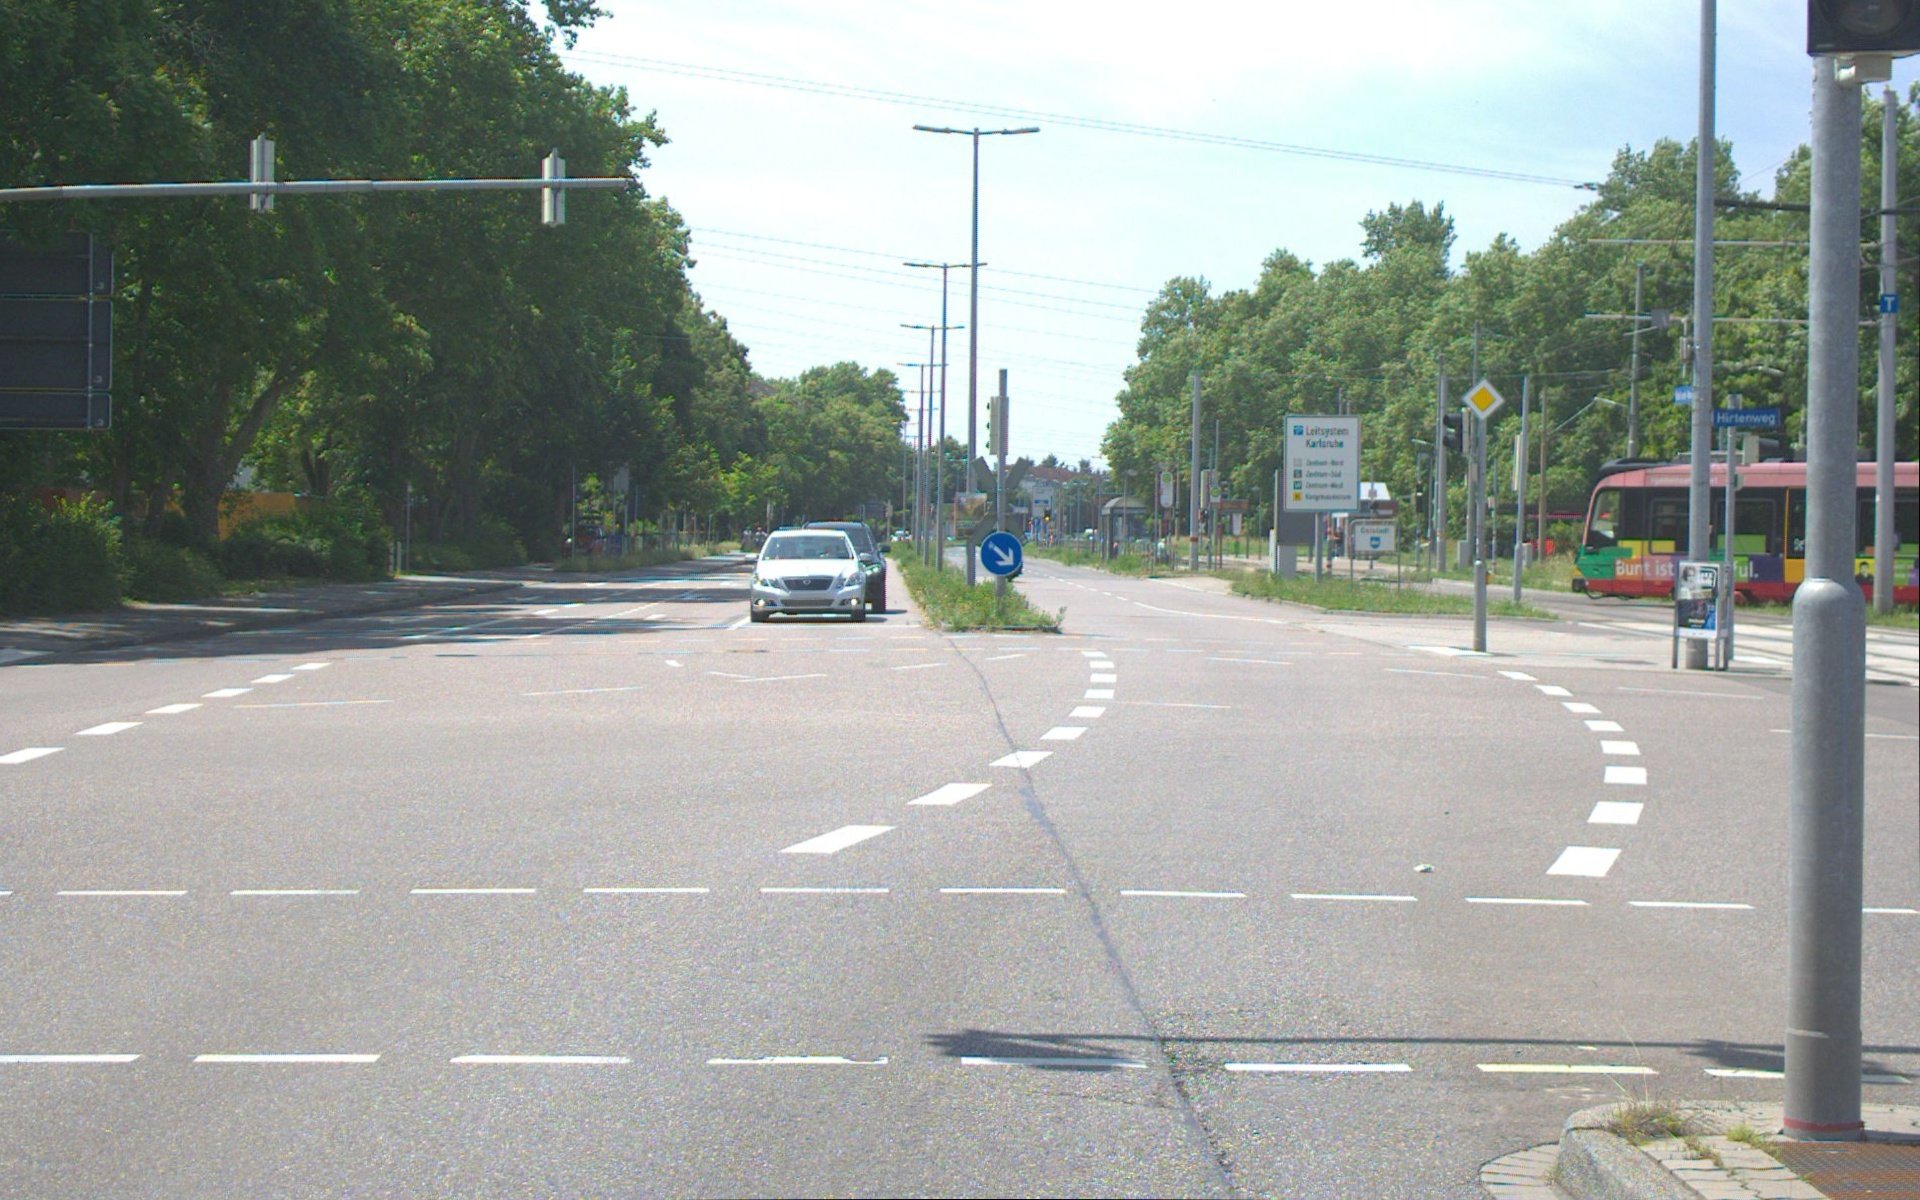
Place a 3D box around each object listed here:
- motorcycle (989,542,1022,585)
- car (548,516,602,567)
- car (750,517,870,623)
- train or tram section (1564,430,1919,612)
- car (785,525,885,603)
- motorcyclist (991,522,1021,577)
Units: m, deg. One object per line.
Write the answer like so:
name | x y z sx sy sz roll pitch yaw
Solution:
motorcycle | 1.376 -1.111 104.806 0.847 1.251 2.449 2 1 -2
car | -16.312 -2.466 145.855 1.993 2.007 4.001 4 0 -4
car | -2.394 -0.508 55.600 1.784 1.623 3.865 1 1 -1
train or tram section | 19.711 -1.689 76.072 13.066 3.799 2.916 0 -2 44
car | -2.255 -0.683 62.940 1.710 1.361 3.865 1 1 -1
motorcyclist | 1.387 -1.529 104.749 0.790 1.637 1.211 2 1 -2
